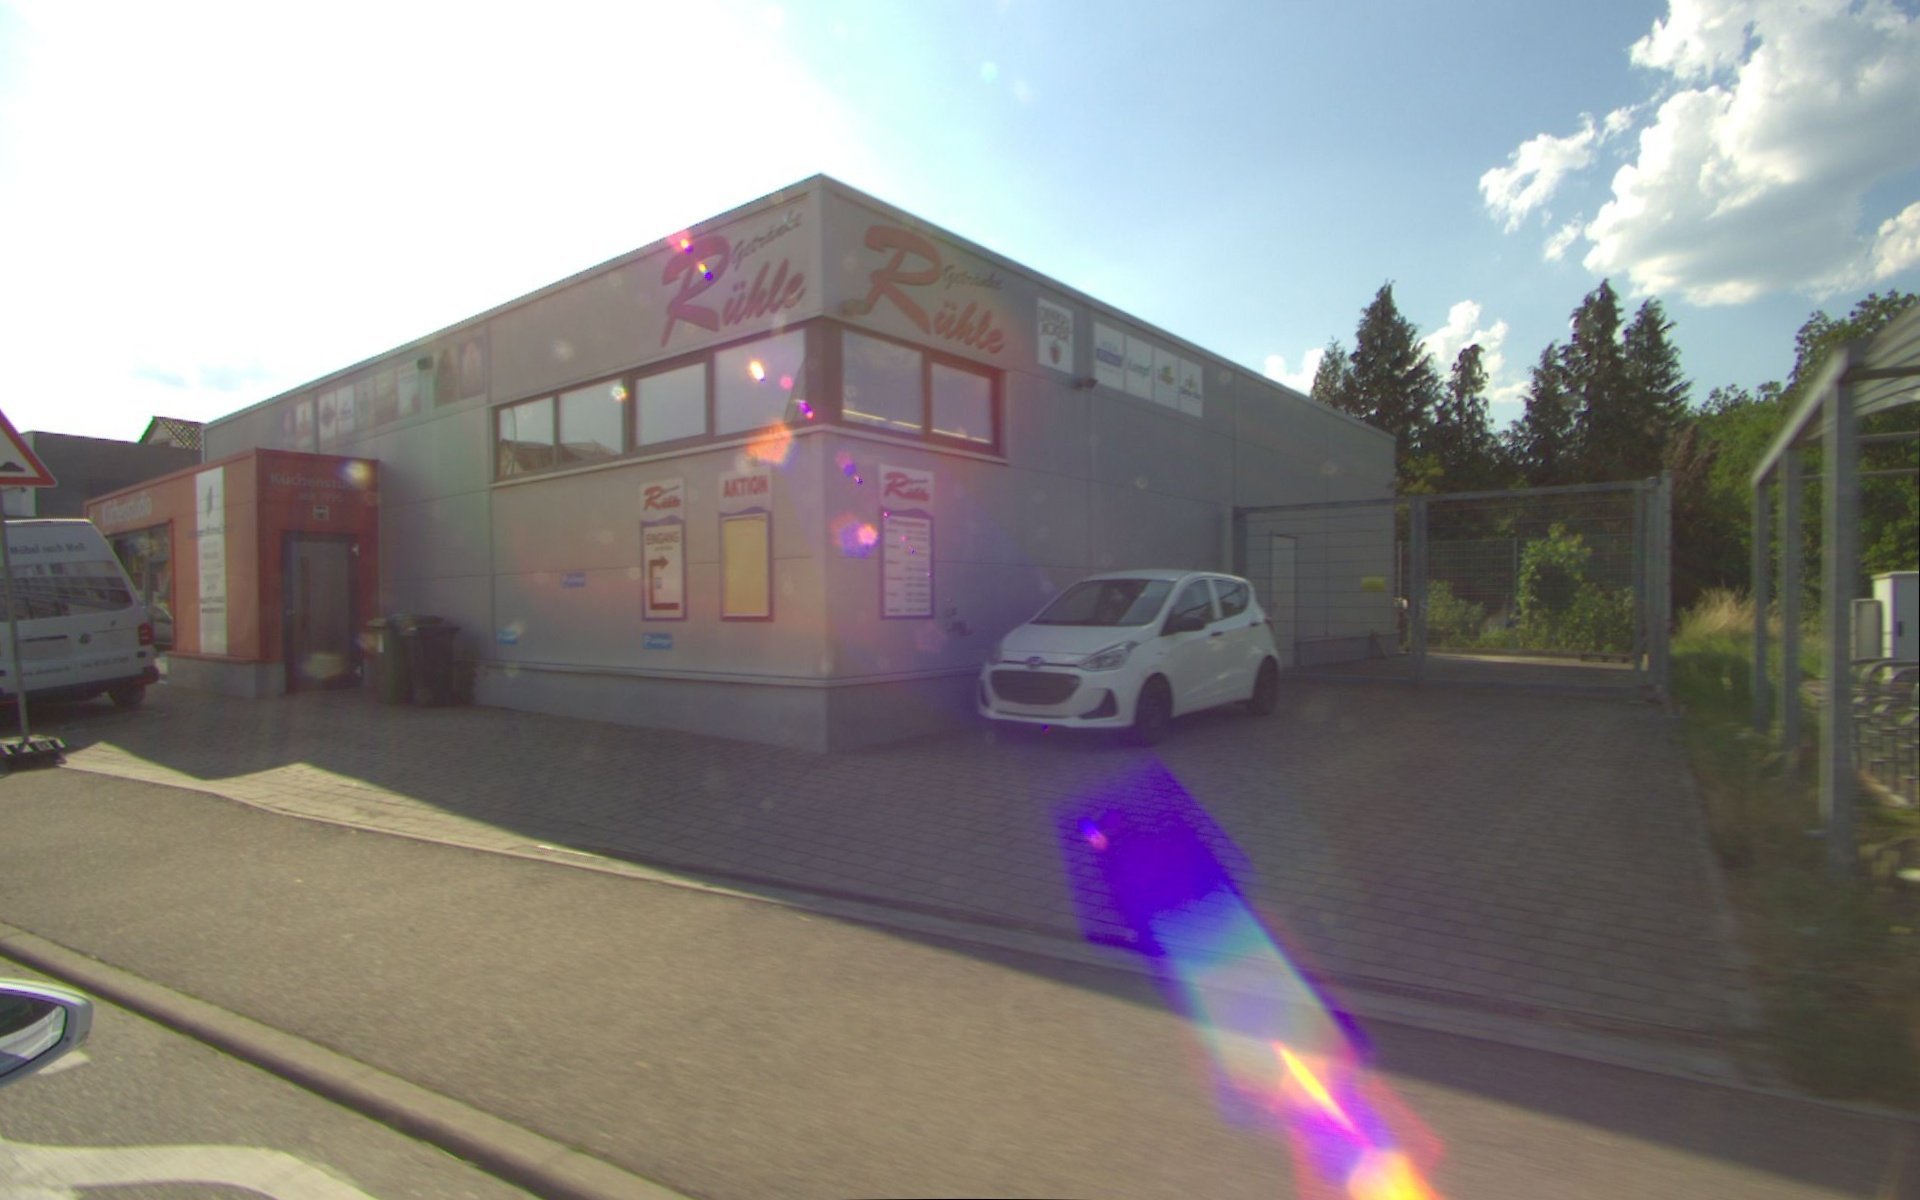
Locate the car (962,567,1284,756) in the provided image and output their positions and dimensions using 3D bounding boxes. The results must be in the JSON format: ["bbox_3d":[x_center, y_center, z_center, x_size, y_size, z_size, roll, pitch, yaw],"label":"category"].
[{"bbox_3d":[1.722,0.439,9.685,1.480,1.477,3.538,1,2,40],"label":"car"}]

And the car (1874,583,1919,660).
[{"bbox_3d":[20.920,0.418,21.278,1.713,1.531,4.162,-1,0,36],"label":"car"}]

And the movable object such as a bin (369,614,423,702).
[{"bbox_3d":[-6.936,0.697,12.315,0.484,1.056,0.427,1,1,39],"label":"movable object such as a bin"}]

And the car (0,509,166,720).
[{"bbox_3d":[-12.890,0.175,13.222,5.097,2.407,1.835,0,1,28],"label":"car"}]

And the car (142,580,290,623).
[{"bbox_3d":[-26.445,0.042,35.722,1.689,1.427,3.902,2,1,27],"label":"car"}]

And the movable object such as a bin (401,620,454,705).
[{"bbox_3d":[-6.360,0.733,11.960,0.425,0.979,0.427,1,1,39],"label":"movable object such as a bin"}]
